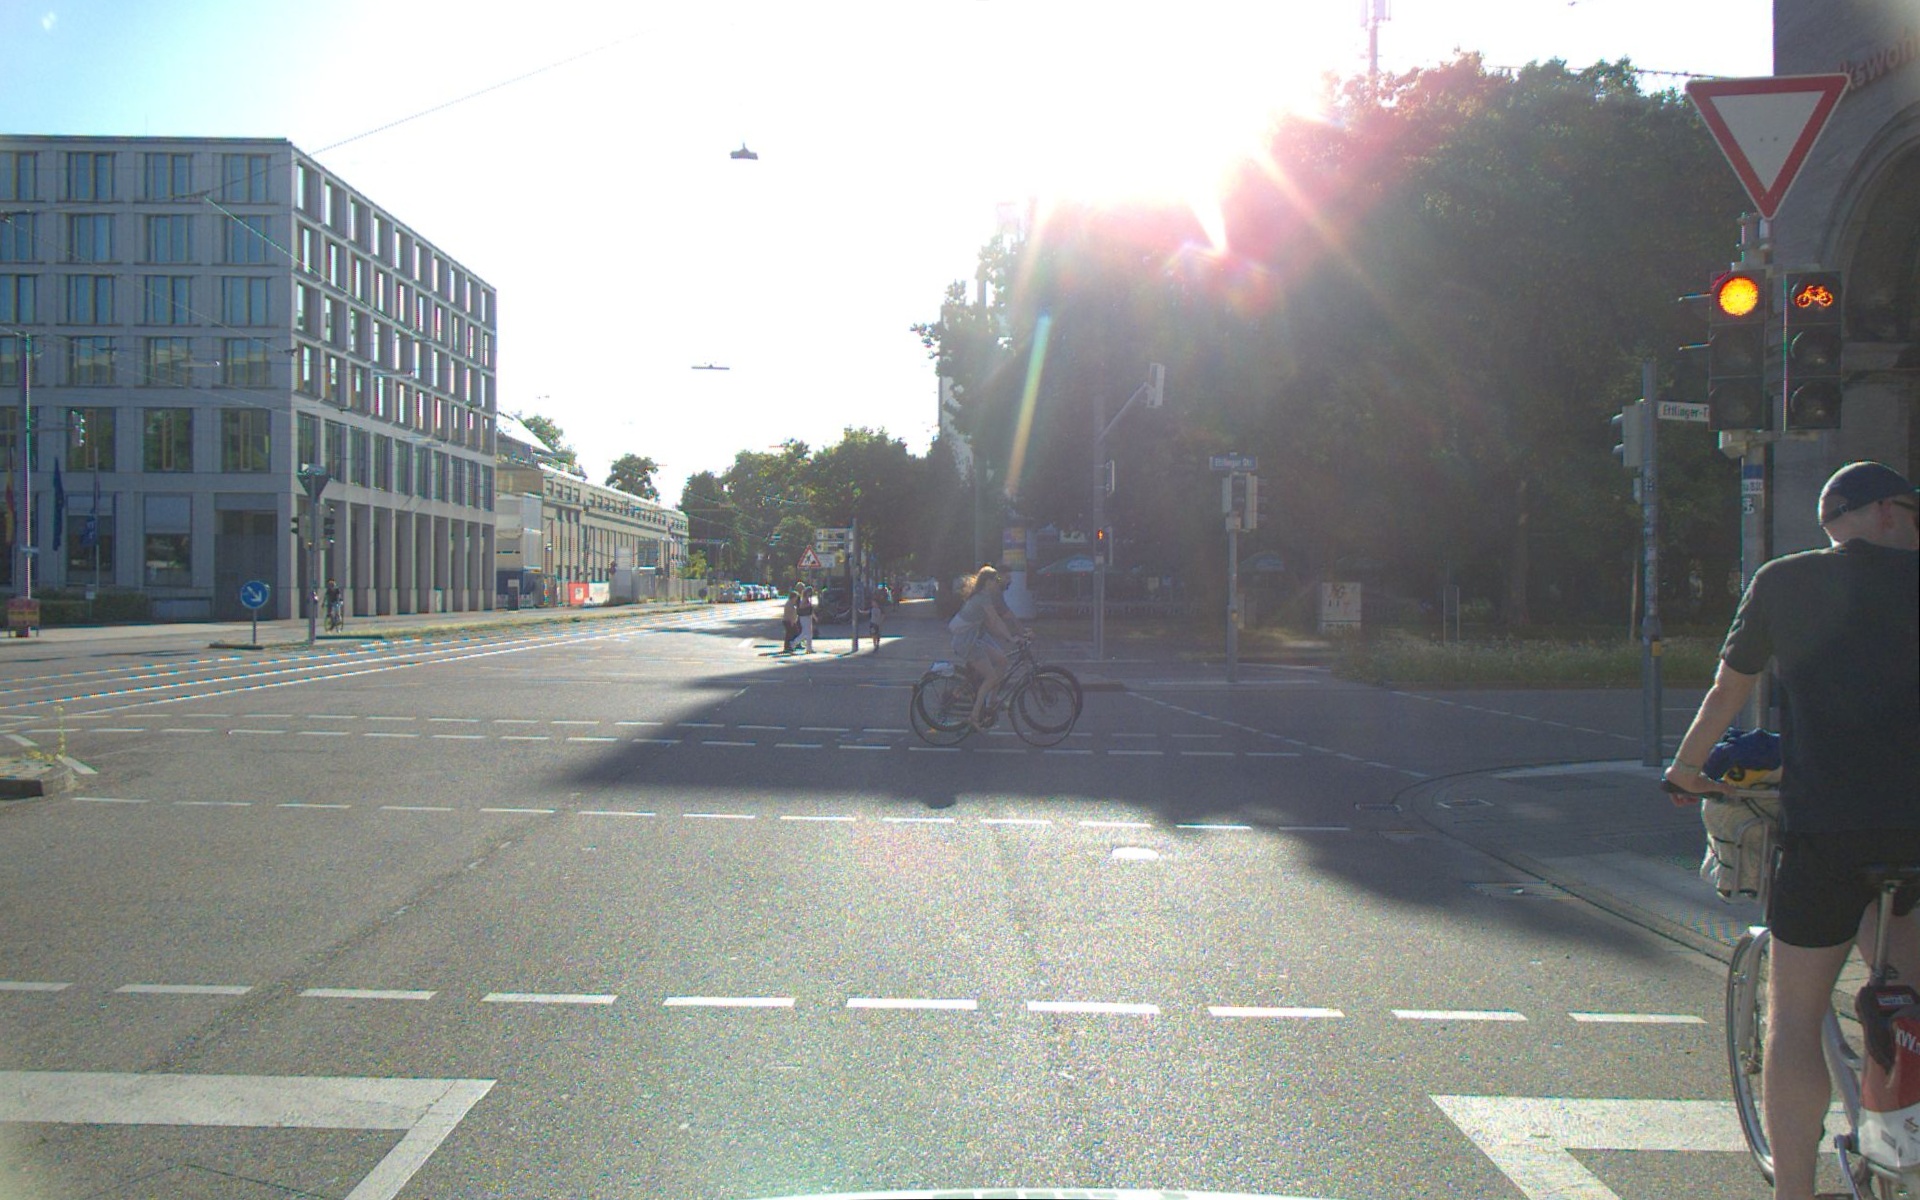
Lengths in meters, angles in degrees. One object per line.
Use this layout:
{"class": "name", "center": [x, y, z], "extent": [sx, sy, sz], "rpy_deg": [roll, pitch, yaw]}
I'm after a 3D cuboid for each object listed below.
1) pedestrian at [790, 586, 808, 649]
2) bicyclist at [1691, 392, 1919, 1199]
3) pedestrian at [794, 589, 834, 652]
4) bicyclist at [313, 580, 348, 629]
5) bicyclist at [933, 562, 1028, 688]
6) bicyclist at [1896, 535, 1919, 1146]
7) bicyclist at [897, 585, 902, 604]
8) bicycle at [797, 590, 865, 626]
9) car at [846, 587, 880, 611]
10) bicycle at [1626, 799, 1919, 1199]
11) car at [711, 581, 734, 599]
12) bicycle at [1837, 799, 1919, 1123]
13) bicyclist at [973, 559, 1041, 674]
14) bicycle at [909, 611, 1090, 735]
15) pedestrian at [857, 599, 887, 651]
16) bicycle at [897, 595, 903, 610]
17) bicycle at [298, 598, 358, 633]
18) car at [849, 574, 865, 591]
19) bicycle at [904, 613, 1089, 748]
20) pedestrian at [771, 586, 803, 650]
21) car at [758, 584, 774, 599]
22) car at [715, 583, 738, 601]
{"class": "pedestrian", "center": [-4.372, 0.467, 44.880], "extent": [0.432, 1.692, 0.376], "rpy_deg": [0, 0, -2]}
{"class": "bicyclist", "center": [2.092, 0.424, 3.720], "extent": [0.655, 1.707, 0.657], "rpy_deg": [0, 0, 8]}
{"class": "pedestrian", "center": [-3.803, 0.531, 43.187], "extent": [0.964, 1.615, 0.660], "rpy_deg": [0, -1, 1]}
{"class": "bicyclist", "center": [-21.377, 0.149, 56.149], "extent": [0.857, 1.670, 0.822], "rpy_deg": [0, 0, 0]}
{"class": "bicyclist", "center": [0.197, 0.242, 16.784], "extent": [0.906, 1.240, 0.796], "rpy_deg": [0, 0, -4]}
{"class": "bicyclist", "center": [2.924, 0.672, 4.297], "extent": [0.511, 1.709, 0.859], "rpy_deg": [0, 0, 2]}
{"class": "bicyclist", "center": [-3.596, -0.342, 98.393], "extent": [0.312, 1.147, 0.291], "rpy_deg": [0, 0, -1]}
{"class": "bicycle", "center": [-5.229, 0.333, 67.055], "extent": [2.688, 1.391, 0.631], "rpy_deg": [1, -1, 10]}
{"class": "car", "center": [-5.309, -0.053, 90.824], "extent": [1.783, 1.301, 3.998], "rpy_deg": [0, 0, -3]}
{"class": "bicycle", "center": [2.055, 1.060, 3.957], "extent": [0.381, 0.921, 1.952], "rpy_deg": [0, 0, 8]}
{"class": "car", "center": [-22.332, -0.926, 155.640], "extent": [1.695, 1.682, 3.999], "rpy_deg": [0, 0, -1]}
{"class": "bicycle", "center": [3.005, 1.089, 4.347], "extent": [0.418, 0.891, 1.951], "rpy_deg": [0, 0, 2]}
{"class": "bicyclist", "center": [0.507, 0.174, 18.204], "extent": [0.706, 1.240, 0.797], "rpy_deg": [0, 0, -2]}
{"class": "bicycle", "center": [0.416, 0.788, 18.186], "extent": [1.945, 1.314, 0.791], "rpy_deg": [0, 0, -3]}
{"class": "pedestrian", "center": [-2.348, 0.660, 44.063], "extent": [0.737, 1.356, 0.742], "rpy_deg": [0, 0, 0]}
{"class": "bicycle", "center": [-3.595, 0.132, 98.446], "extent": [0.318, 0.883, 1.482], "rpy_deg": [0, 0, -3]}
{"class": "bicycle", "center": [-21.388, 0.506, 56.038], "extent": [0.857, 1.140, 3.013], "rpy_deg": [0, 0, 0]}
{"class": "car", "center": [-13.172, -2.230, 211.783], "extent": [1.953, 2.049, 3.999], "rpy_deg": [0, 0, -1]}
{"class": "bicycle", "center": [0.352, 0.801, 16.796], "extent": [1.814, 1.314, 0.791], "rpy_deg": [0, 0, -4]}
{"class": "pedestrian", "center": [-4.562, 0.474, 43.696], "extent": [0.779, 1.668, 0.533], "rpy_deg": [0, 0, 2]}
{"class": "car", "center": [-22.643, -0.968, 193.579], "extent": [1.453, 1.780, 3.999], "rpy_deg": [0, 0, -1]}
{"class": "car", "center": [-22.512, -0.793, 159.710], "extent": [1.695, 1.682, 3.999], "rpy_deg": [0, 0, -1]}
